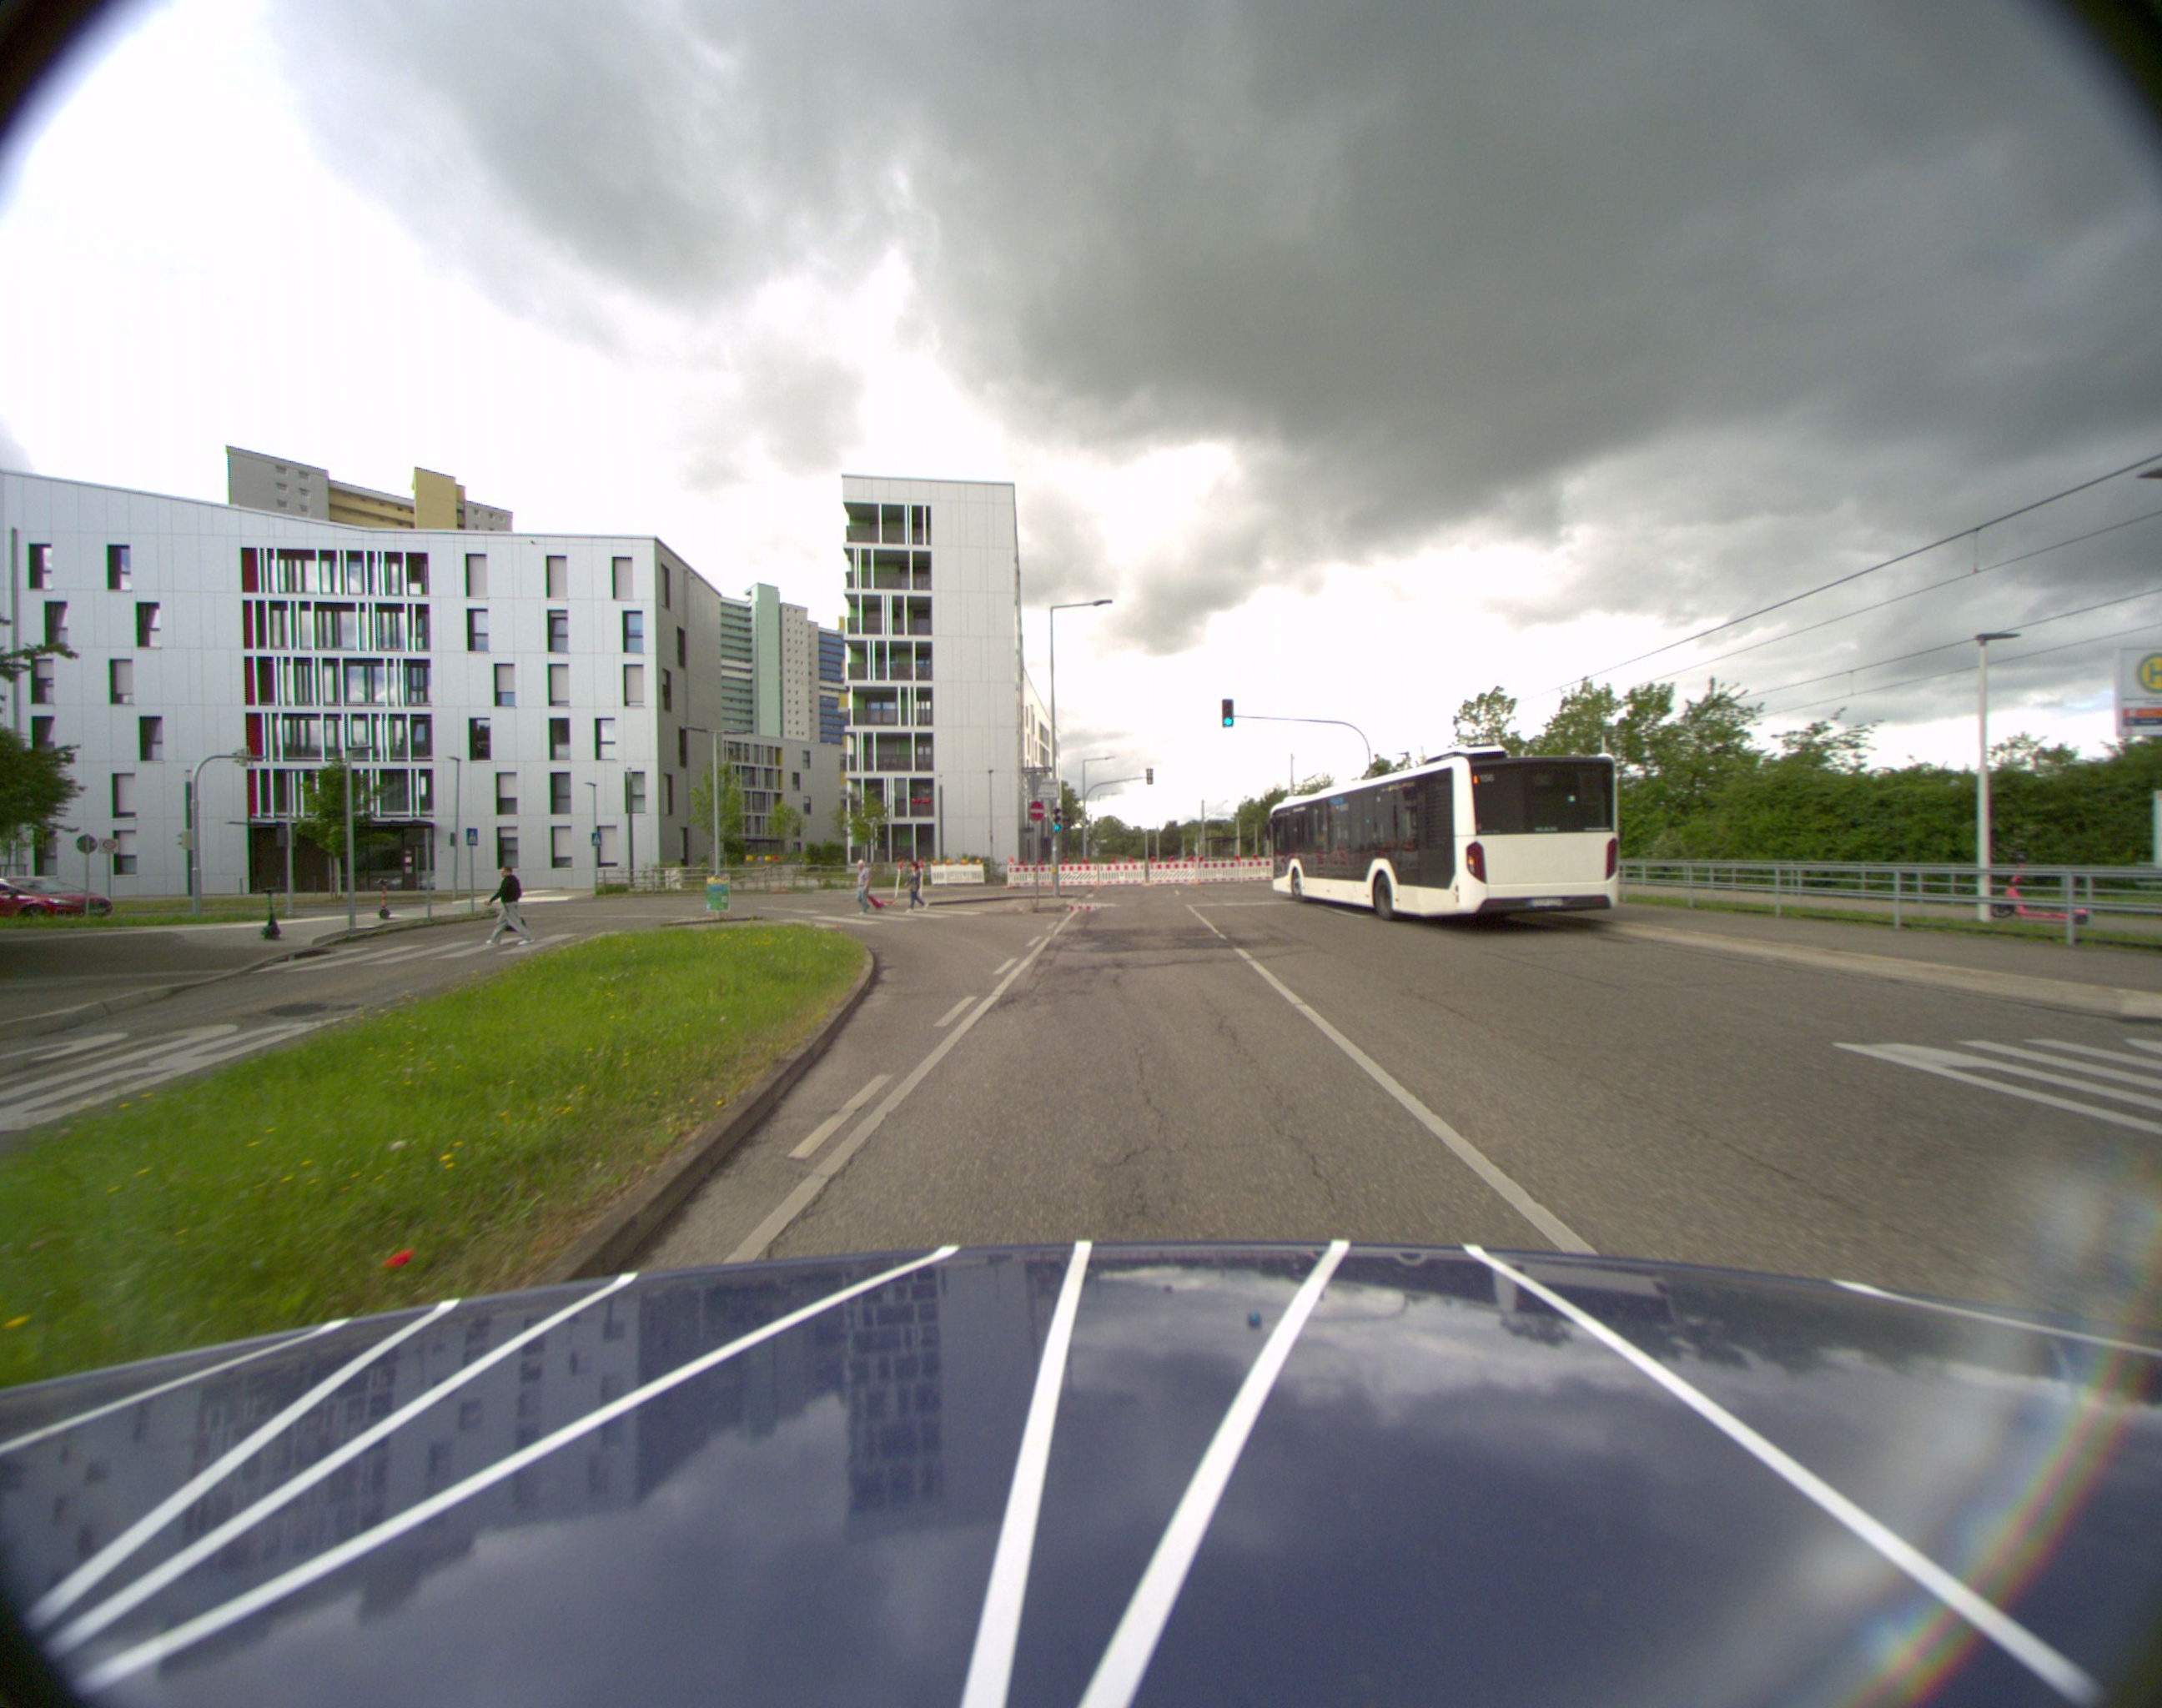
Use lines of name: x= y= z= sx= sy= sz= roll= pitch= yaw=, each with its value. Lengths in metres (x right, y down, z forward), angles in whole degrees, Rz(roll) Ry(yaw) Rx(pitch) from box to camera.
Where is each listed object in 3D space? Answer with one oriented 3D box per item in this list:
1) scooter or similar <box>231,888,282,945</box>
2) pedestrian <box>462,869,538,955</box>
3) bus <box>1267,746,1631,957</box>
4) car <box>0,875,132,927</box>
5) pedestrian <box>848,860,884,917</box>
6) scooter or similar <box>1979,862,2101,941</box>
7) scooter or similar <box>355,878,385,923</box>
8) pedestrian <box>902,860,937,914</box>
scooter or similar: x=-20.407 y=1.526 z=18.803 sx=1.491 sy=1.267 sz=0.623 roll=1 pitch=2 yaw=35
pedestrian: x=-12.520 y=1.210 z=16.424 sx=1.063 sy=1.737 sz=0.955 roll=-1 pitch=1 yaw=-23
bus: x=7.121 y=-0.087 z=17.715 sx=2.673 sy=3.184 sz=12.198 roll=-1 pitch=1 yaw=1
car: x=-36.812 y=1.638 z=26.574 sx=4.243 sy=1.622 sz=1.932 roll=-1 pitch=2 yaw=-9
pedestrian: x=-6.286 y=0.998 z=22.230 sx=0.721 sy=1.625 sz=0.699 roll=1 pitch=3 yaw=12
scooter or similar: x=16.422 y=0.782 z=13.046 sx=0.412 sy=1.264 sz=1.268 roll=-1 pitch=0 yaw=-8
scooter or similar: x=-22.229 y=1.432 z=23.775 sx=0.573 sy=1.305 sz=1.521 roll=-2 pitch=1 yaw=-41
pedestrian: x=-4.816 y=0.965 z=22.651 sx=0.731 sy=1.558 sz=0.693 roll=-1 pitch=1 yaw=17
